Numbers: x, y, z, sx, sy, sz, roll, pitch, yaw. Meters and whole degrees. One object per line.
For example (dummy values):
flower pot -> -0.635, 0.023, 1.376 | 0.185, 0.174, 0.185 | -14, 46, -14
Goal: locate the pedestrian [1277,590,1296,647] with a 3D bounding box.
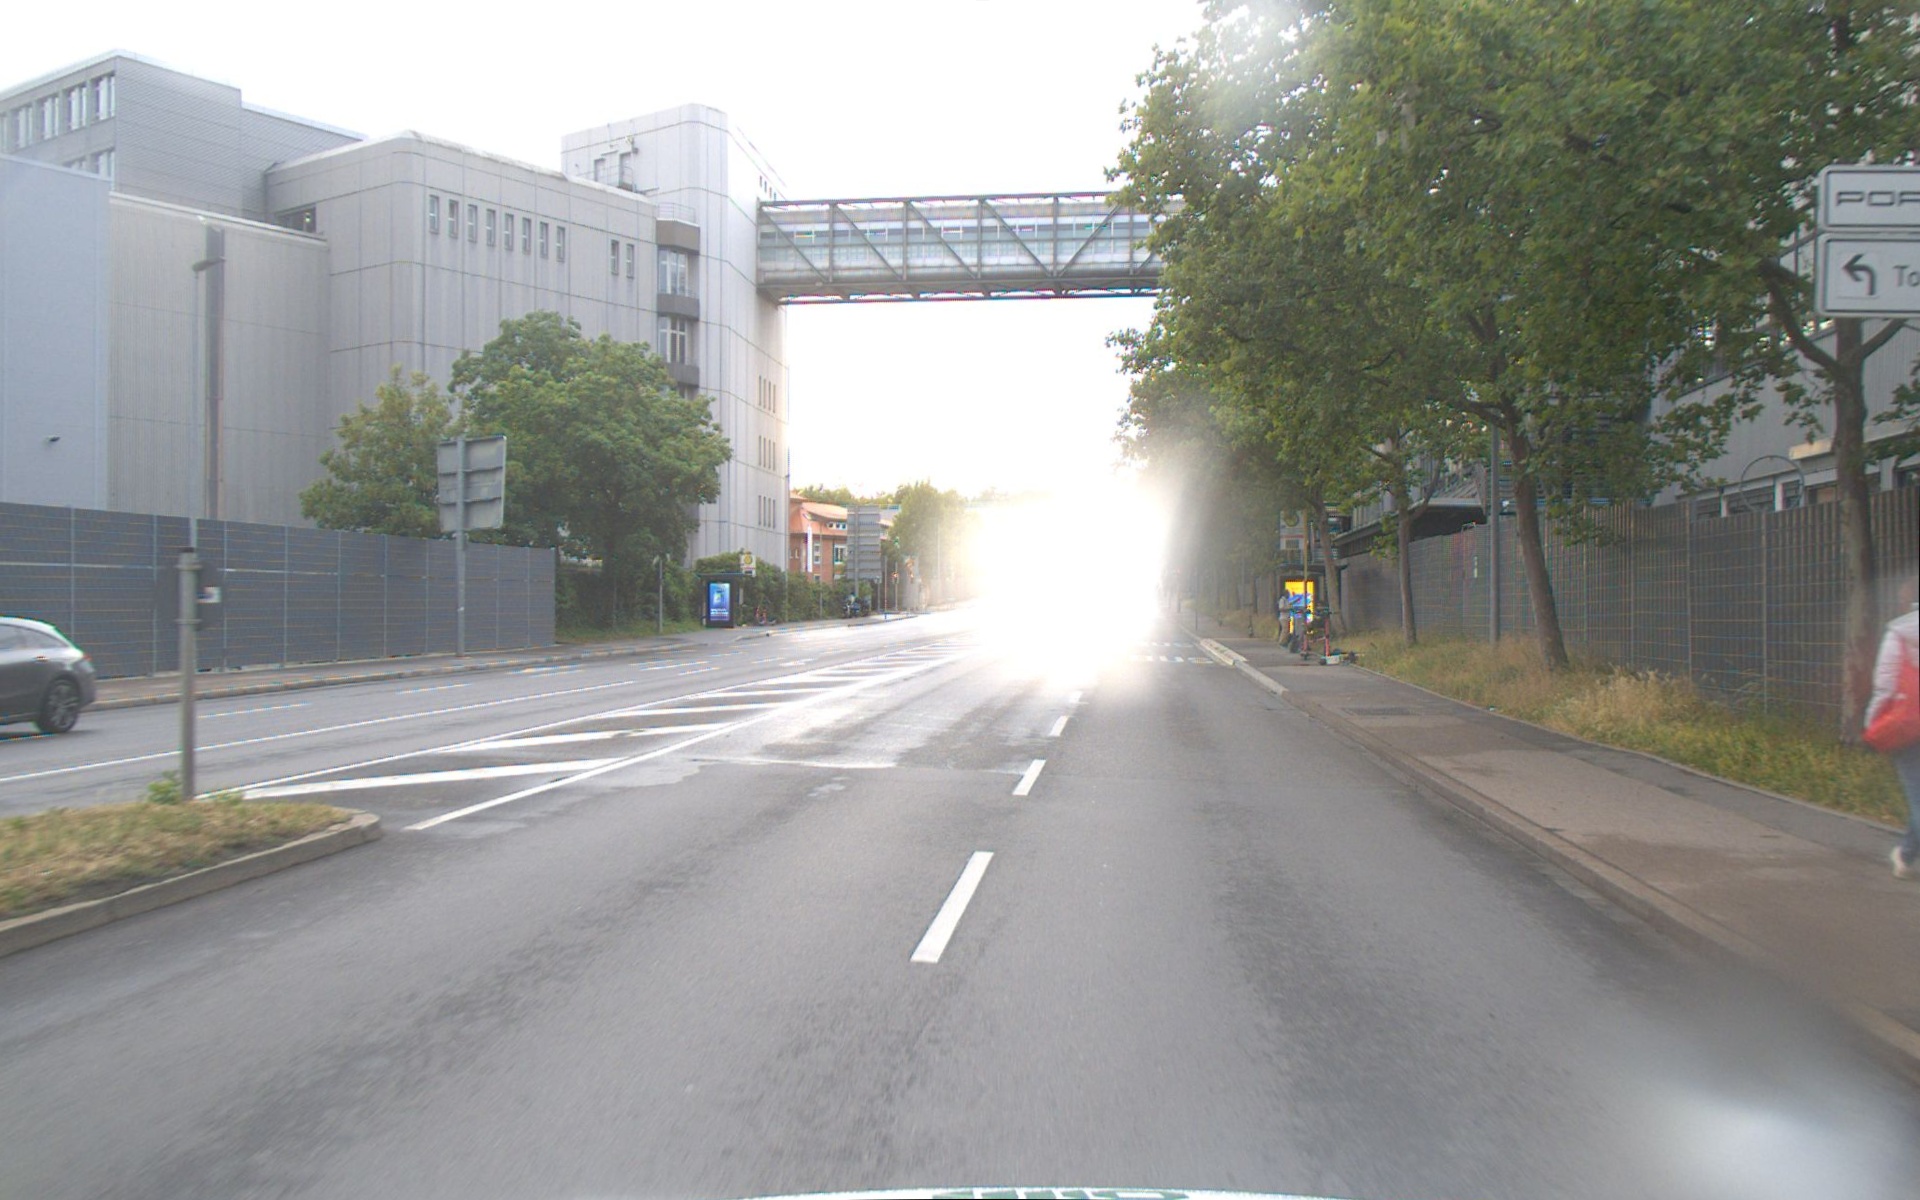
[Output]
pedestrian -> 9.894, 0.555, 50.128 | 0.471, 1.696, 0.662 | -1, 0, 4

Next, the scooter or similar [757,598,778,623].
scooter or similar -> -9.780, 0.535, 84.026 | 0.487, 1.274, 1.923 | 0, 0, 11

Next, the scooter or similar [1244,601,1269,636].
scooter or similar -> 11.124, 0.680, 62.001 | 0.684, 1.266, 1.922 | 0, 0, 17

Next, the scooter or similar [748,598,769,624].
scooter or similar -> -9.995, 0.552, 82.047 | 0.513, 1.274, 1.801 | 0, 0, 11

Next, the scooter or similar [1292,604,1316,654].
scooter or similar -> 9.217, 0.765, 44.361 | 0.465, 1.315, 1.435 | -1, 0, 6

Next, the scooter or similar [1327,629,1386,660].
scooter or similar -> 9.904, 1.100, 41.387 | 0.644, 0.726, 1.513 | -1, 0, -25

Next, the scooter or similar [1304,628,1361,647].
scooter or similar -> 10.728, 1.079, 47.635 | 1.529, 0.528, 0.643 | -1, 0, 23

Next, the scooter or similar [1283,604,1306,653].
scooter or similar -> 9.402, 0.791, 46.558 | 0.492, 1.315, 1.435 | -1, 0, 6

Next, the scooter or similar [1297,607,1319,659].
scooter or similar -> 8.841, 0.837, 42.072 | 0.424, 1.292, 1.195 | -1, 0, 6

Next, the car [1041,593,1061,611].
car -> 9.019, 0.194, 164.220 | 1.952, 1.803, 4.001 | 0, 0, 3

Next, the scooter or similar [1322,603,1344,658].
scooter or similar -> 8.770, 0.706, 38.894 | 0.380, 1.248, 1.074 | -1, 0, 6

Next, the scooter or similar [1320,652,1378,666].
scooter or similar -> 8.786, 1.325, 37.387 | 0.642, 0.251, 1.518 | -1, 0, -16

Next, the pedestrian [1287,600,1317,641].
pedestrian -> 11.154, 0.673, 53.962 | 0.930, 1.340, 0.686 | 0, 0, 12

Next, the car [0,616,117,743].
car -> -11.736, 0.948, 18.623 | 1.745, 1.409, 4.549 | -2, 0, 6

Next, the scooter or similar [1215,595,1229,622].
scooter or similar -> 13.369, 0.424, 84.352 | 0.596, 1.390, 1.923 | 0, 0, 11

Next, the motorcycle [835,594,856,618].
motorcycle -> -7.420, 0.377, 107.632 | 0.894, 1.559, 3.301 | 0, 0, 4

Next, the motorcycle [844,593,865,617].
motorcycle -> -7.098, 0.320, 111.441 | 0.938, 1.583, 3.301 | 0, 0, 4

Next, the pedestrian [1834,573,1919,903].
pedestrian -> 5.009, 0.676, 8.496 | 0.694, 1.620, 0.841 | 0, 0, 10
